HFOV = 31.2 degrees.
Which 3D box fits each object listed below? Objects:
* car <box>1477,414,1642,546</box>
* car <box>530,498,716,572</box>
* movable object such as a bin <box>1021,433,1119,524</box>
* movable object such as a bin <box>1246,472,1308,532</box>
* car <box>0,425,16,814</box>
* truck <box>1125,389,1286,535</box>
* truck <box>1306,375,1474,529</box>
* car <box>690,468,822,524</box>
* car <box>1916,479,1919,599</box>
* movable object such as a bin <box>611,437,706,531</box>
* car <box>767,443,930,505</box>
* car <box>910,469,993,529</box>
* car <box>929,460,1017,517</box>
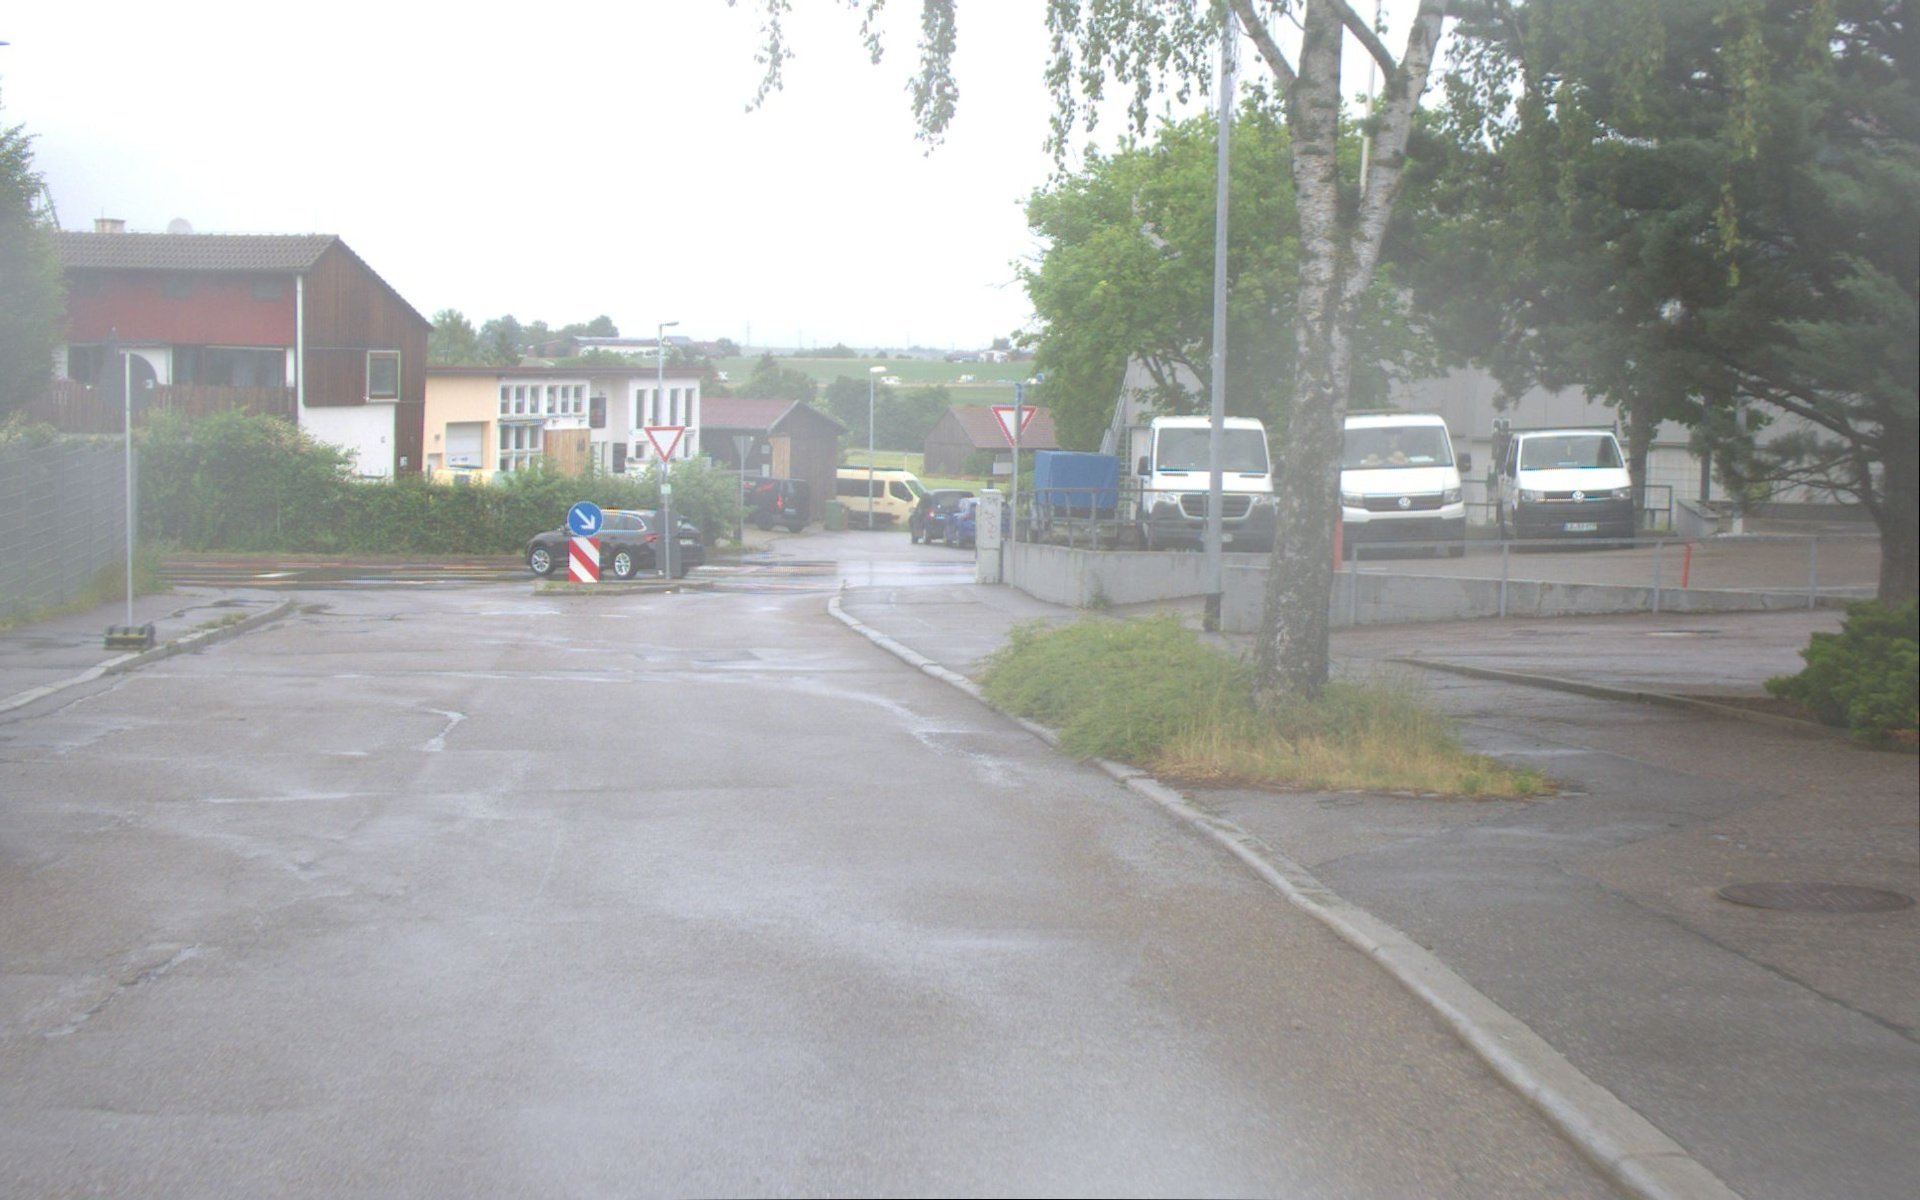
[{"bbox_3d":[9.624,-1.923,55.545,2.056,2.006,4.938,1,2,4],"label":"car"},{"bbox_3d":[-7.330,-1.420,74.592,3.997,1.529,1.756,2,2,42],"label":"car"},{"bbox_3d":[1.838,-2.048,57.950,1.306,1.495,1.859,0,2,-9],"label":"movable object such as a bin"},{"bbox_3d":[5.551,-1.715,60.206,1.050,1.039,0.884,1,2,7],"label":"movable object such as a bin"},{"bbox_3d":[-5.169,0.133,14.172,1.739,1.791,3.959,0,2,-4],"label":"car"},{"bbox_3d":[3.882,-2.188,55.320,2.105,2.206,5.653,1,2,-1],"label":"truck"},{"bbox_3d":[6.795,-2.323,54.792,2.243,2.333,4.837,1,2,2],"label":"truck"},{"bbox_3d":[-7.101,-3.600,119.287,4.406,1.898,1.995,2,2,40],"label":"car"},{"bbox_3d":[12.787,-0.720,40.543,2.713,1.441,1.677,0,2,8],"label":"car"},{"bbox_3d":[-8.368,-3.225,95.706,1.733,2.547,3.338,1,2,12],"label":"movable object such as a bin"},{"bbox_3d":[-4.431,-5.035,137.085,6.014,2.406,2.461,1,2,18],"label":"car"},{"bbox_3d":[-0.285,-3.152,107.636,2.073,1.828,4.472,0,2,-7],"label":"car"},{"bbox_3d":[0.364,-3.287,101.473,1.951,1.604,4.448,0,2,-8],"label":"car"}]
